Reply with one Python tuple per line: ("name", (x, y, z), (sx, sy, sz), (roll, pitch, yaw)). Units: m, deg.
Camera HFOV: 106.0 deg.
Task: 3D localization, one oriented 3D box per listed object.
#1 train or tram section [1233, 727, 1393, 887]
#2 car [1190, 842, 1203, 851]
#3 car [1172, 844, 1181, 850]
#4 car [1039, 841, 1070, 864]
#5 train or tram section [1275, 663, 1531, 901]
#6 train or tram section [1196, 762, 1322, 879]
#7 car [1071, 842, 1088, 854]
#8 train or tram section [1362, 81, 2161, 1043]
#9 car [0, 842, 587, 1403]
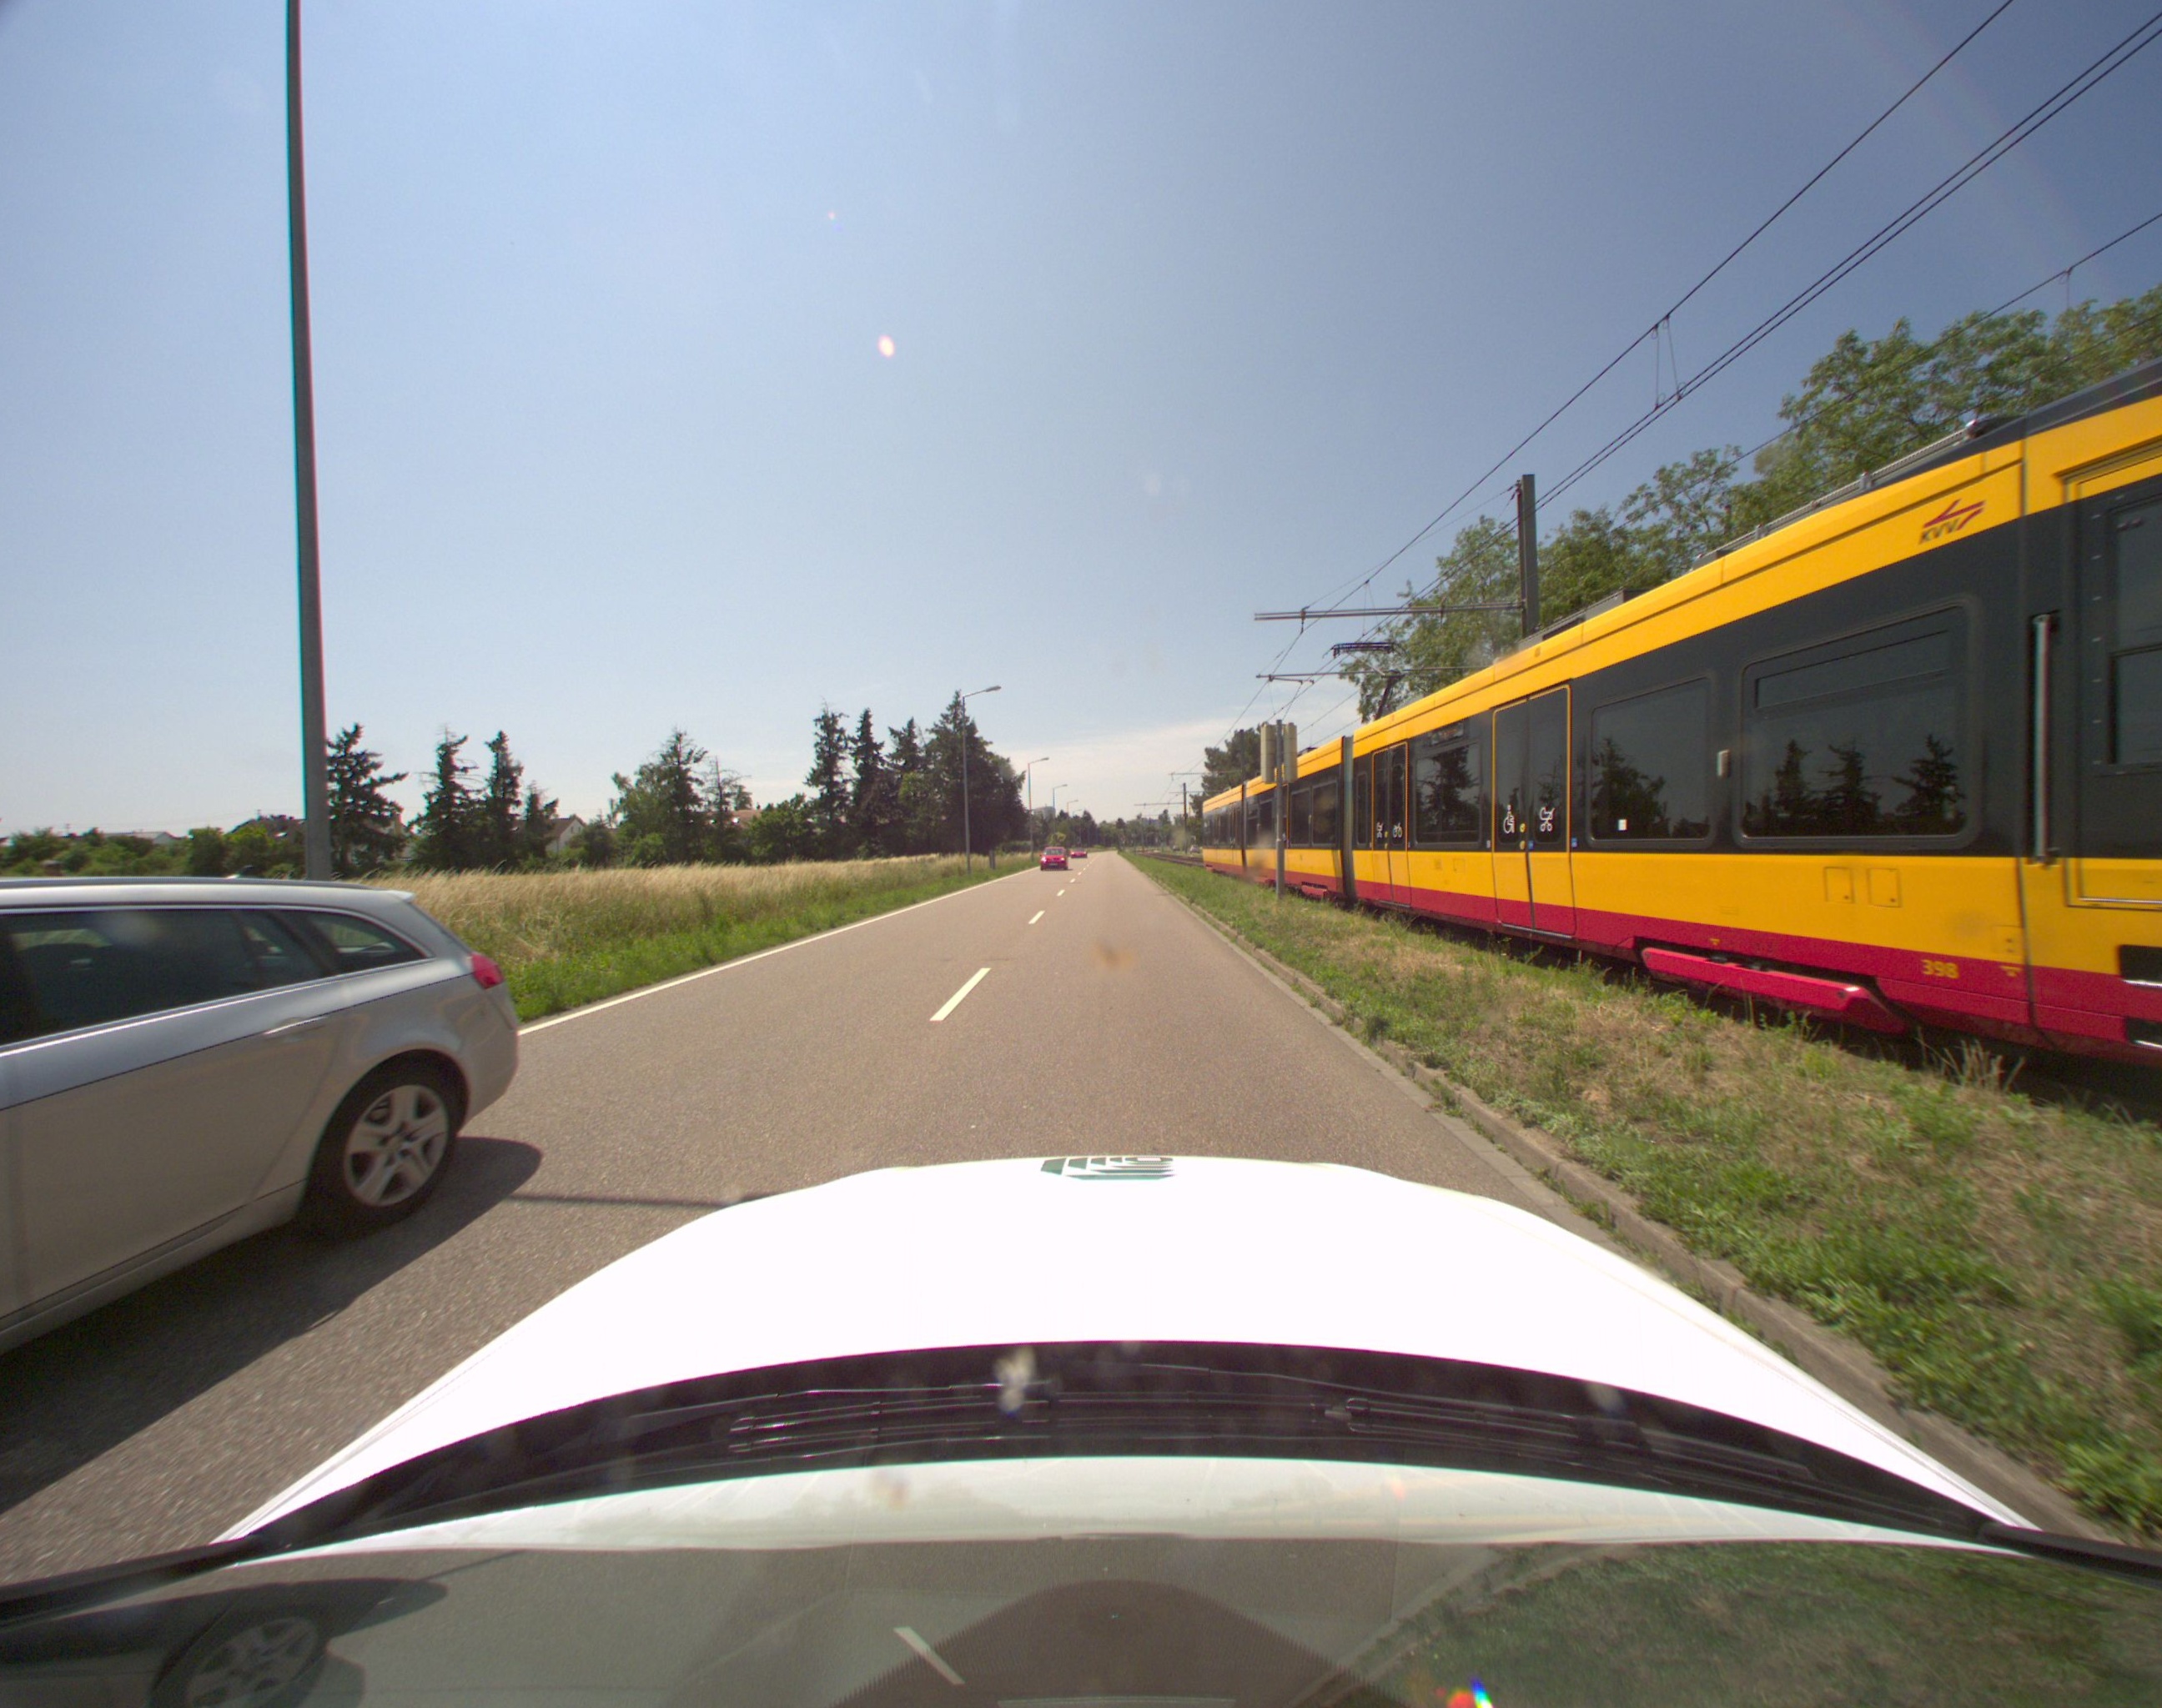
("train or tram section", (6.256, -1.130, 23.142), (2.691, 3.766, 6.732), (-2, 0, 2))
("car", (21.980, -1.375, 154.849), (1.986, 1.508, 4.002), (-2, 0, 2))
("car", (24.658, -1.806, 210.460), (1.908, 1.662, 4.002), (-2, 0, 2))
("car", (-1.650, -0.081, 51.811), (1.639, 1.400, 3.846), (-2, 0, 2))
("train or tram section", (5.957, -1.139, 16.420), (2.551, 3.713, 6.732), (-2, 0, 2))
("train or tram section", (6.585, -1.072, 32.113), (2.755, 3.689, 11.190), (-2, 0, 2))
("car", (-0.173, -0.710, 99.783), (1.800, 1.285, 4.288), (-2, 0, 2))
("train or tram section", (5.611, -1.151, 7.285), (2.420, 3.766, 11.563), (-2, 0, 2))
("car", (-3.759, 0.732, 2.209), (1.827, 1.467, 4.680), (-2, -1, 2))
